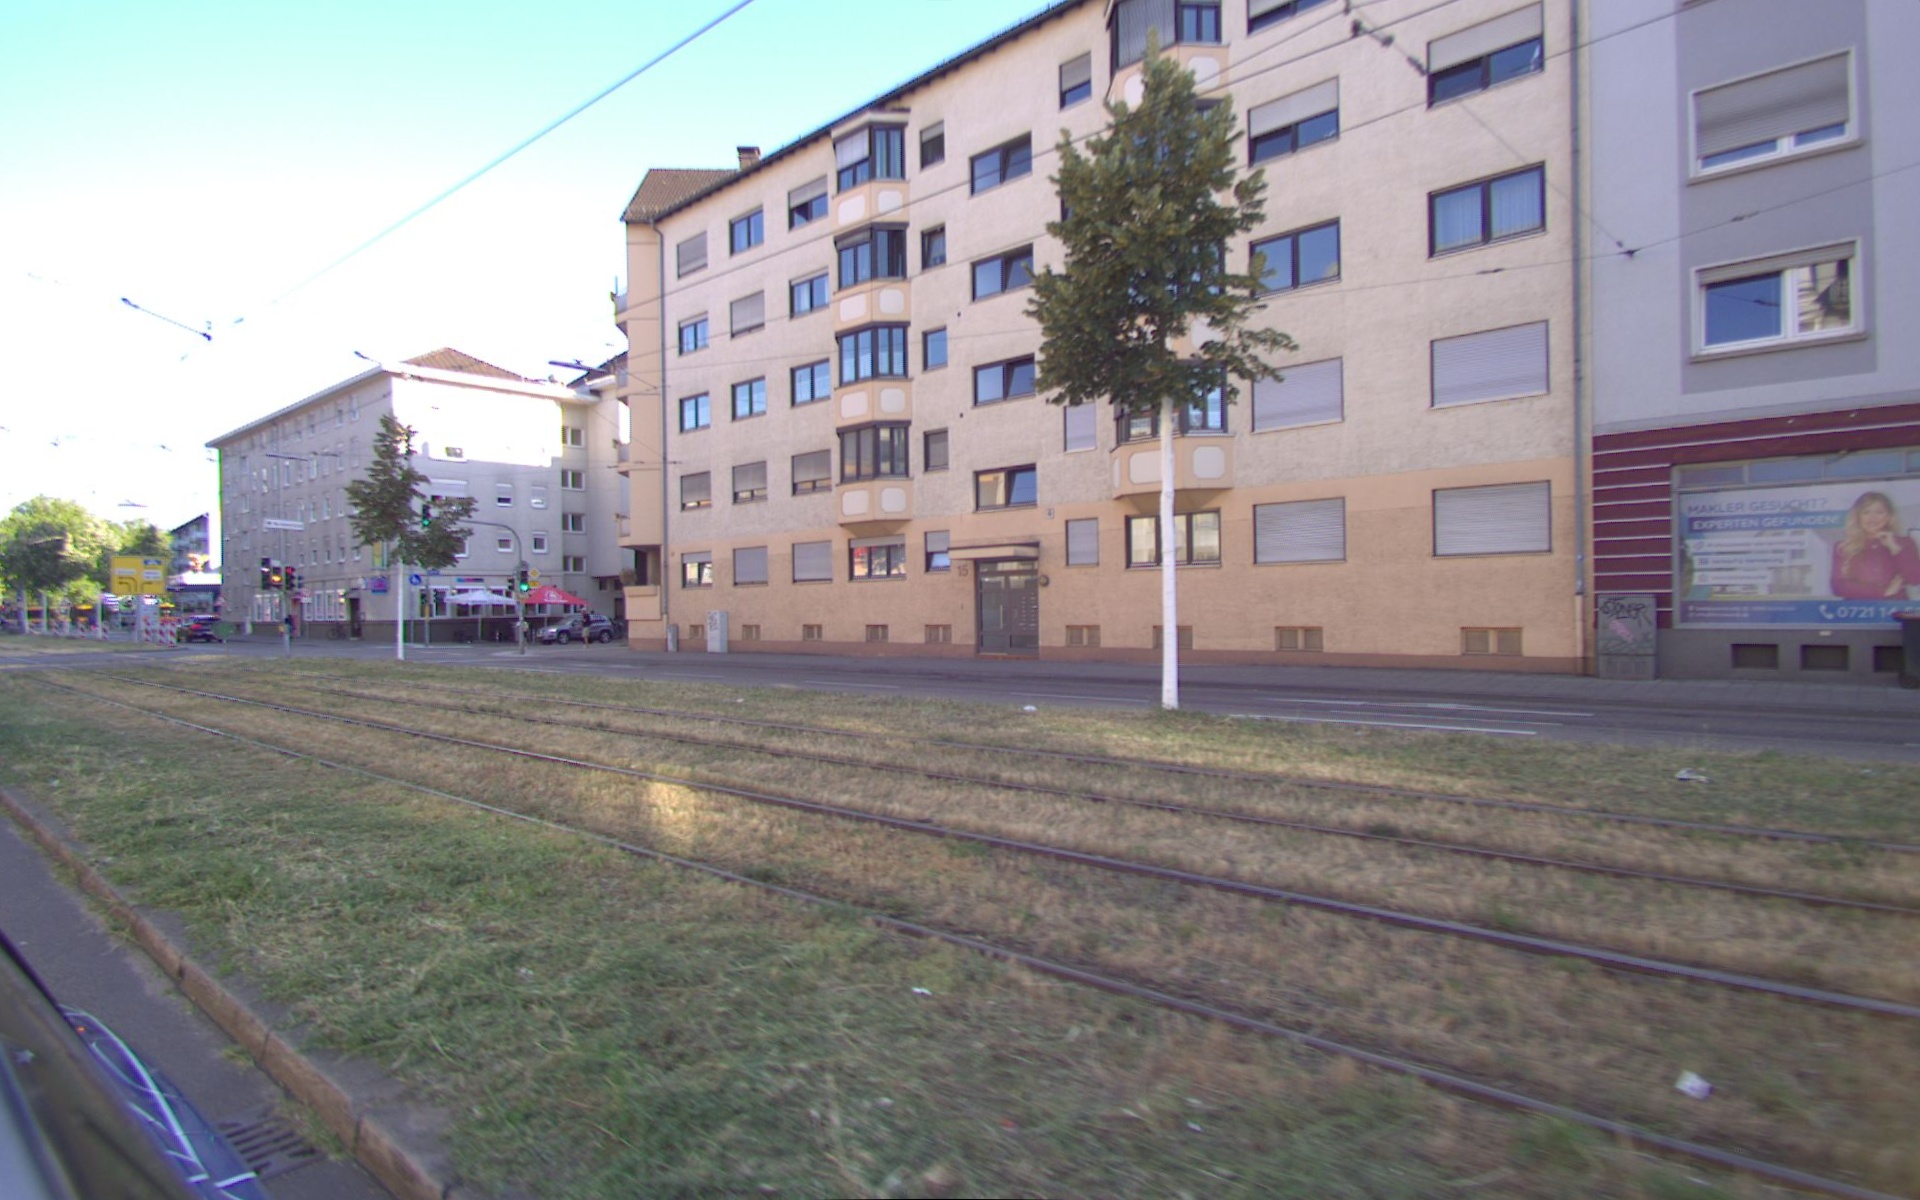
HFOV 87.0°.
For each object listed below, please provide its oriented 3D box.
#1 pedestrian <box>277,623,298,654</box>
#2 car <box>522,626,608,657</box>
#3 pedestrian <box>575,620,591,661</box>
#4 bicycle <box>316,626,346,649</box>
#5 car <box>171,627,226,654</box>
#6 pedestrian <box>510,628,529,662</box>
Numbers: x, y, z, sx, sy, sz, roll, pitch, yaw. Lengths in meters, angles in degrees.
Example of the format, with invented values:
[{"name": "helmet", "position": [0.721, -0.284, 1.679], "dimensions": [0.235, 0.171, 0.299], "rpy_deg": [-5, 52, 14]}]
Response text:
[{"name": "pedestrian", "position": [-39.661, 2.253, 59.673], "dimensions": [1.225, 1.754, 0.733], "rpy_deg": [-1, -1, 41]}, {"name": "car", "position": [-21.544, 2.254, 55.349], "dimensions": [1.997, 1.519, 3.950], "rpy_deg": [-1, 0, 37]}, {"name": "pedestrian", "position": [-17.068, 1.822, 45.827], "dimensions": [0.624, 1.784, 0.827], "rpy_deg": [-1, -1, -23]}, {"name": "bicycle", "position": [-38.098, 2.267, 61.299], "dimensions": [3.235, 1.389, 0.572], "rpy_deg": [-1, -1, 41]}, {"name": "car", "position": [-47.352, 2.499, 62.896], "dimensions": [4.467, 1.603, 1.897], "rpy_deg": [-2, -1, 41]}, {"name": "pedestrian", "position": [-19.907, 2.007, 45.739], "dimensions": [0.582, 1.501, 0.616], "rpy_deg": [-1, 0, 41]}]
